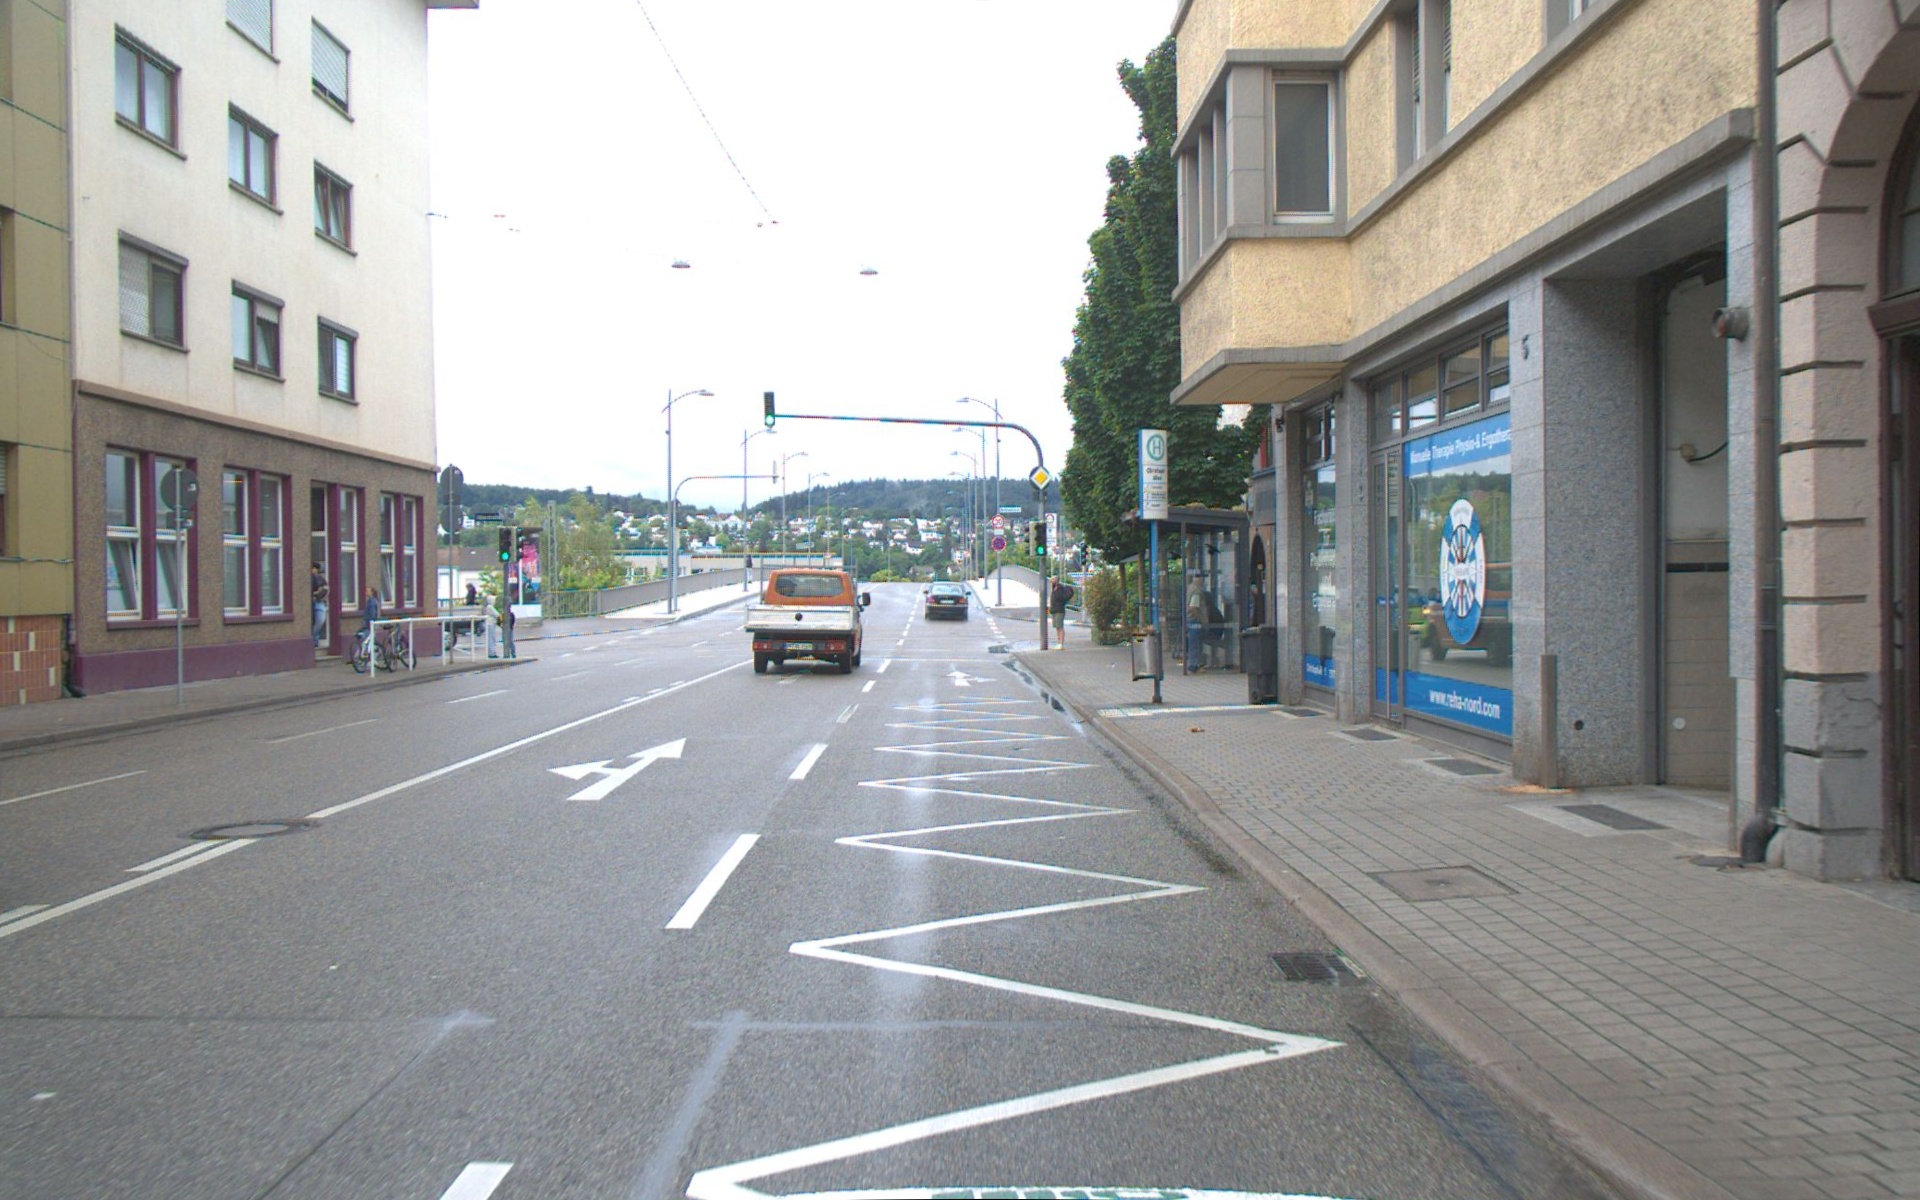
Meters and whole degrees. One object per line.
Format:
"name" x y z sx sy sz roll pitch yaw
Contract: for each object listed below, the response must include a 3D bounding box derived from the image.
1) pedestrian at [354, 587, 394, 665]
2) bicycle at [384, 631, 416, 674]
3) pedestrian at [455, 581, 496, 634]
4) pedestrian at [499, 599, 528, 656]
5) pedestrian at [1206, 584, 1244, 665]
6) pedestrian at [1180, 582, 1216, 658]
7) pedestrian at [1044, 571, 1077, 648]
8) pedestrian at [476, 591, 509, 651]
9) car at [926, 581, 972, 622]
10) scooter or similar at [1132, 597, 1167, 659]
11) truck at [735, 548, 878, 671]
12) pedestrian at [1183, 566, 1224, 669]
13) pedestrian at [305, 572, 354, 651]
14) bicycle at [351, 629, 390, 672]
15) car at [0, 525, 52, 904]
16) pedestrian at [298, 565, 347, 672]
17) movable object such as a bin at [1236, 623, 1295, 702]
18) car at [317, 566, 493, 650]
"pedestrian" -12.007 0.531 33.916 0.563 1.580 0.739 -1 0 -4
"bicycle" -11.020 1.022 32.562 0.259 0.797 1.111 -1 0 -1
"pedestrian" -16.530 0.258 56.425 1.060 1.788 1.050 -1 0 -35
"pedestrian" -11.212 0.683 41.538 0.533 1.412 0.649 -1 0 1
"pedestrian" 4.760 0.438 29.730 0.552 1.421 0.513 -1 0 -4
"pedestrian" 4.355 0.362 30.303 0.523 1.373 0.596 -1 0 -2
"pedestrian" 2.478 0.234 40.709 0.718 1.873 0.631 -1 0 -2
"pedestrian" -11.647 0.520 41.181 0.629 1.483 0.660 -1 0 -2
"car" -0.439 0.063 64.825 1.718 1.505 3.999 -1 0 -1
"scooter or similar" 3.815 0.552 33.332 0.500 1.193 1.549 -1 0 -1
"truck" -2.893 0.175 32.404 2.351 2.167 5.314 -1 0 -1
"pedestrian" 4.187 0.299 28.461 0.606 1.729 0.656 -1 0 3
"pedestrian" -13.003 0.240 34.137 0.758 1.605 0.588 -1 0 -1
"bicycle" -11.389 0.965 31.968 0.259 0.797 1.421 -1 0 -1
"car" -5.403 0.554 5.936 1.892 1.788 4.571 -1 0 -2
"pedestrian" -12.945 0.366 33.593 0.697 2.136 0.730 -1 0 -4
"movable object such as a bin" 3.795 0.773 20.575 0.588 0.942 0.704 -1 0 -1
"car" -16.714 0.219 50.034 4.916 2.392 1.990 -1 0 -18
